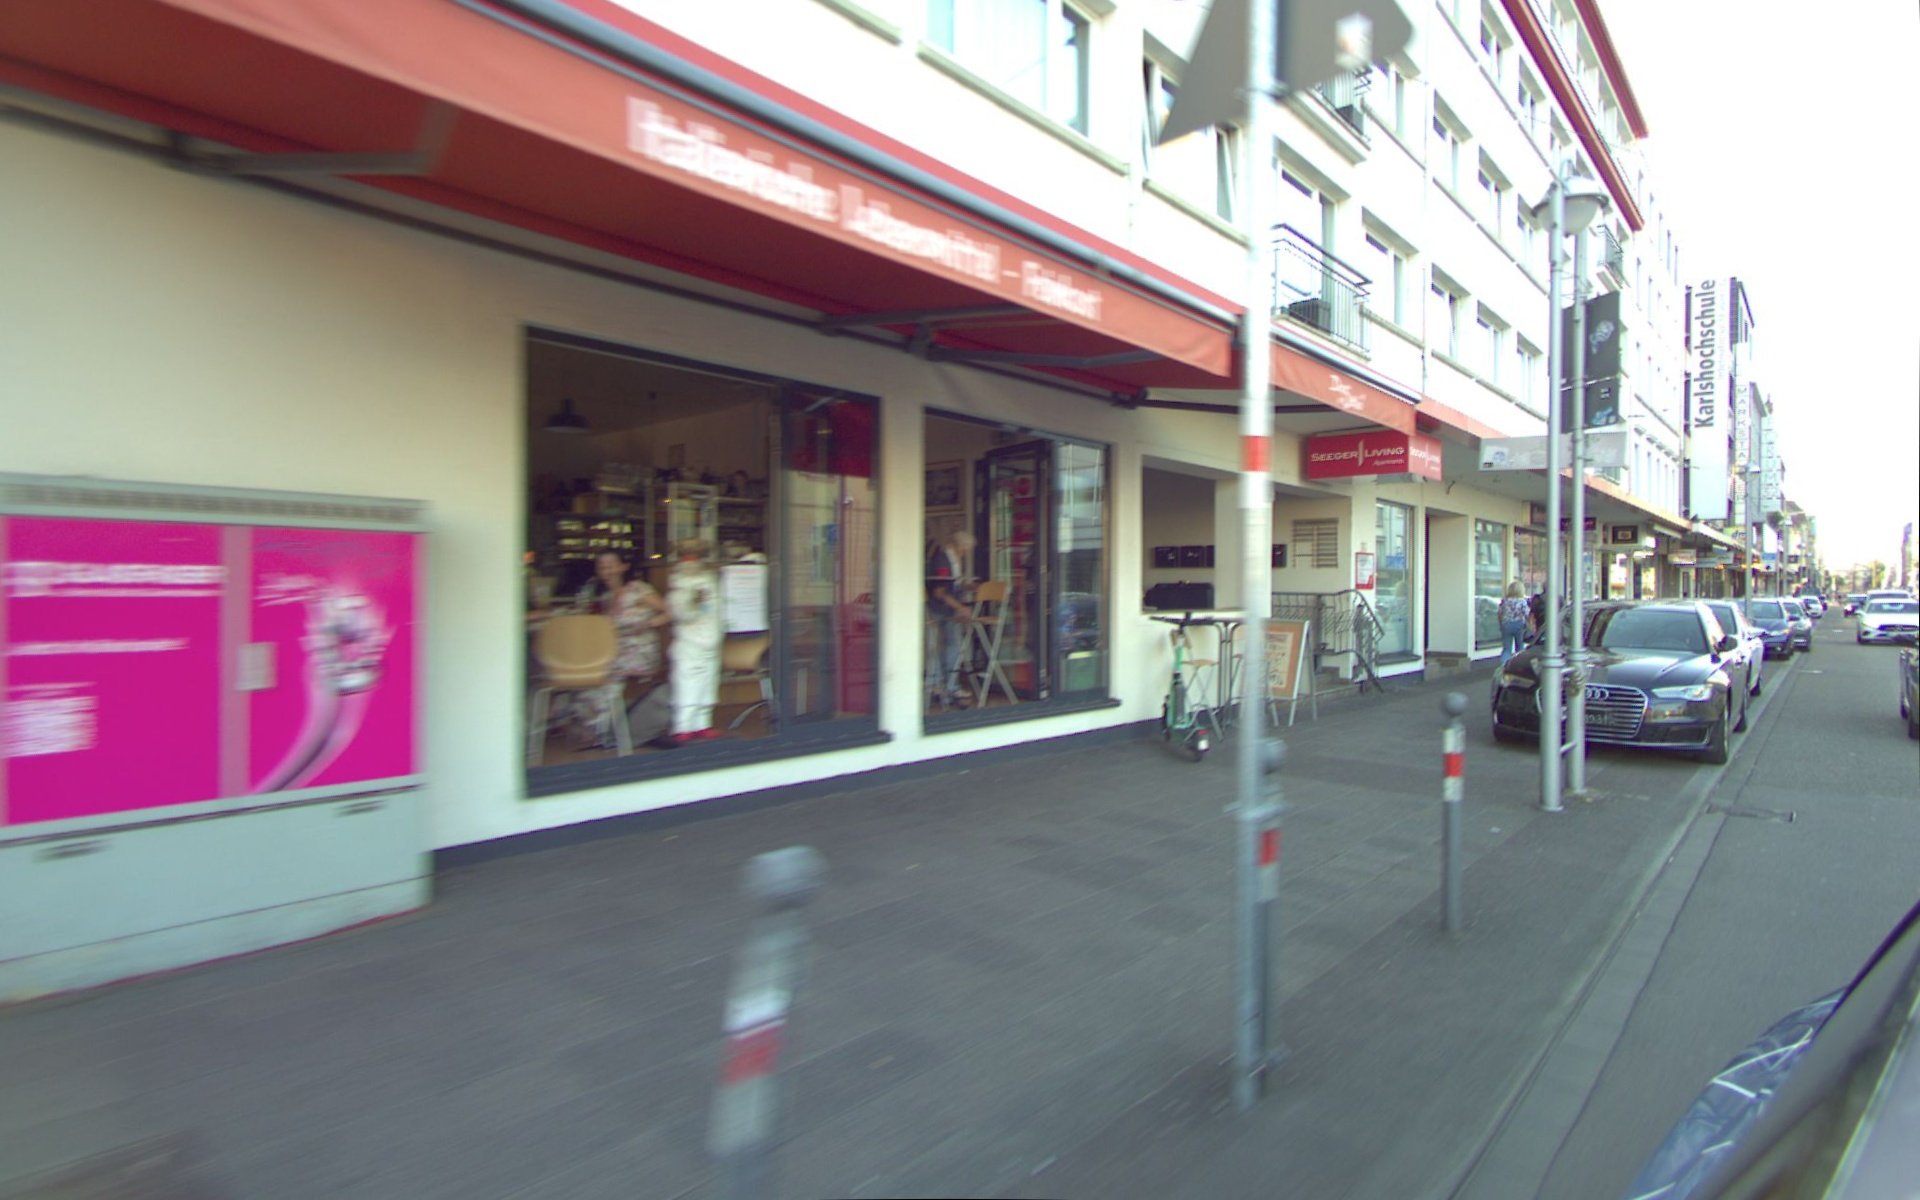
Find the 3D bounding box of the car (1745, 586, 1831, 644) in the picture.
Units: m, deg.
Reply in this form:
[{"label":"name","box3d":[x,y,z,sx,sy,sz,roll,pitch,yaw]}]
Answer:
[{"label":"car","box3d":[24.304,0.384,29.673,1.788,1.531,4.643,3,2,40]}]

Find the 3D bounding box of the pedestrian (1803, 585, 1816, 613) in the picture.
[{"label":"pedestrian","box3d":[53.032,-0.085,63.193,0.604,1.749,0.636,1,0,42]}]

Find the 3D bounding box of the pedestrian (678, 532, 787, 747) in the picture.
[{"label":"pedestrian","box3d":[-1.530,0.247,6.828,0.519,1.376,0.499,0,0,31]}]

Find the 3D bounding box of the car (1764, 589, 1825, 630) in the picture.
[{"label":"car","box3d":[33.932,0.337,41.107,1.720,1.531,4.104,3,2,42]}]

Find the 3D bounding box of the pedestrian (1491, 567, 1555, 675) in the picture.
[{"label":"pedestrian","box3d":[9.580,0.335,17.211,0.728,1.763,0.850,2,2,42]}]

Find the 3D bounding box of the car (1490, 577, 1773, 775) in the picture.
[{"label":"car","box3d":[7.035,0.580,10.366,1.734,1.531,4.614,3,2,42]}]

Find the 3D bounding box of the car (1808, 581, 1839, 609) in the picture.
[{"label":"car","box3d":[77.984,-0.465,91.435,2.038,2.415,5.503,1,1,40]}]

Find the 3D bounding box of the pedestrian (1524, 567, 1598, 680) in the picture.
[{"label":"pedestrian","box3d":[9.724,0.358,16.373,0.826,1.740,0.830,2,2,42]}]

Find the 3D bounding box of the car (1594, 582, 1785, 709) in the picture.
[{"label":"car","box3d":[10.611,0.541,14.604,1.784,1.531,3.990,3,2,42]}]

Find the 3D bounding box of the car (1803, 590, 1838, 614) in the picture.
[{"label":"car","box3d":[60.074,0.145,70.632,1.677,1.562,3.826,3,2,42]}]

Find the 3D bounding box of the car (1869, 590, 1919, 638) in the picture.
[{"label":"car","box3d":[30.465,0.413,32.376,1.992,1.477,3.940,1,1,41]}]

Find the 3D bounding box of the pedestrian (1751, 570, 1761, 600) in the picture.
[{"label":"pedestrian","box3d":[51.612,-0.994,65.613,0.451,1.923,0.415,1,0,42]}]

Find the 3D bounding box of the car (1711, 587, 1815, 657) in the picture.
[{"label":"car","box3d":[20.032,0.482,25.183,1.734,1.531,4.238,3,2,42]}]

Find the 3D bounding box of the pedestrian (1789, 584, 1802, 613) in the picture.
[{"label":"pedestrian","box3d":[52.553,-0.088,63.647,0.608,1.775,0.596,1,0,42]}]

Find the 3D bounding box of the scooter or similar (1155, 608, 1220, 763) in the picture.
[{"label":"scooter or similar","box3d":[1.948,0.692,8.741,0.350,1.217,1.248,0,0,4]}]

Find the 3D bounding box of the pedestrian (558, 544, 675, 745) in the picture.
[{"label":"pedestrian","box3d":[-2.213,0.268,6.532,0.517,1.232,0.500,0,0,25]}]

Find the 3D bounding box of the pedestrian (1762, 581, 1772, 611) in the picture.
[{"label":"pedestrian","box3d":[51.497,-0.261,64.607,0.454,1.923,0.415,1,0,42]}]

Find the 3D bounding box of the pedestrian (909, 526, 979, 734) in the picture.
[{"label":"pedestrian","box3d":[-0.151,0.257,8.945,0.592,1.782,0.527,0,0,-2]}]

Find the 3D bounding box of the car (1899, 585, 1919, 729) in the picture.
[{"label":"car","box3d":[11.701,0.601,11.191,1.726,1.541,4.270,-1,0,40]}]

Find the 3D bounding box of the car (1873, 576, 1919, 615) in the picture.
[{"label":"car","box3d":[45.151,-0.228,48.433,1.991,1.838,3.942,1,1,40]}]
